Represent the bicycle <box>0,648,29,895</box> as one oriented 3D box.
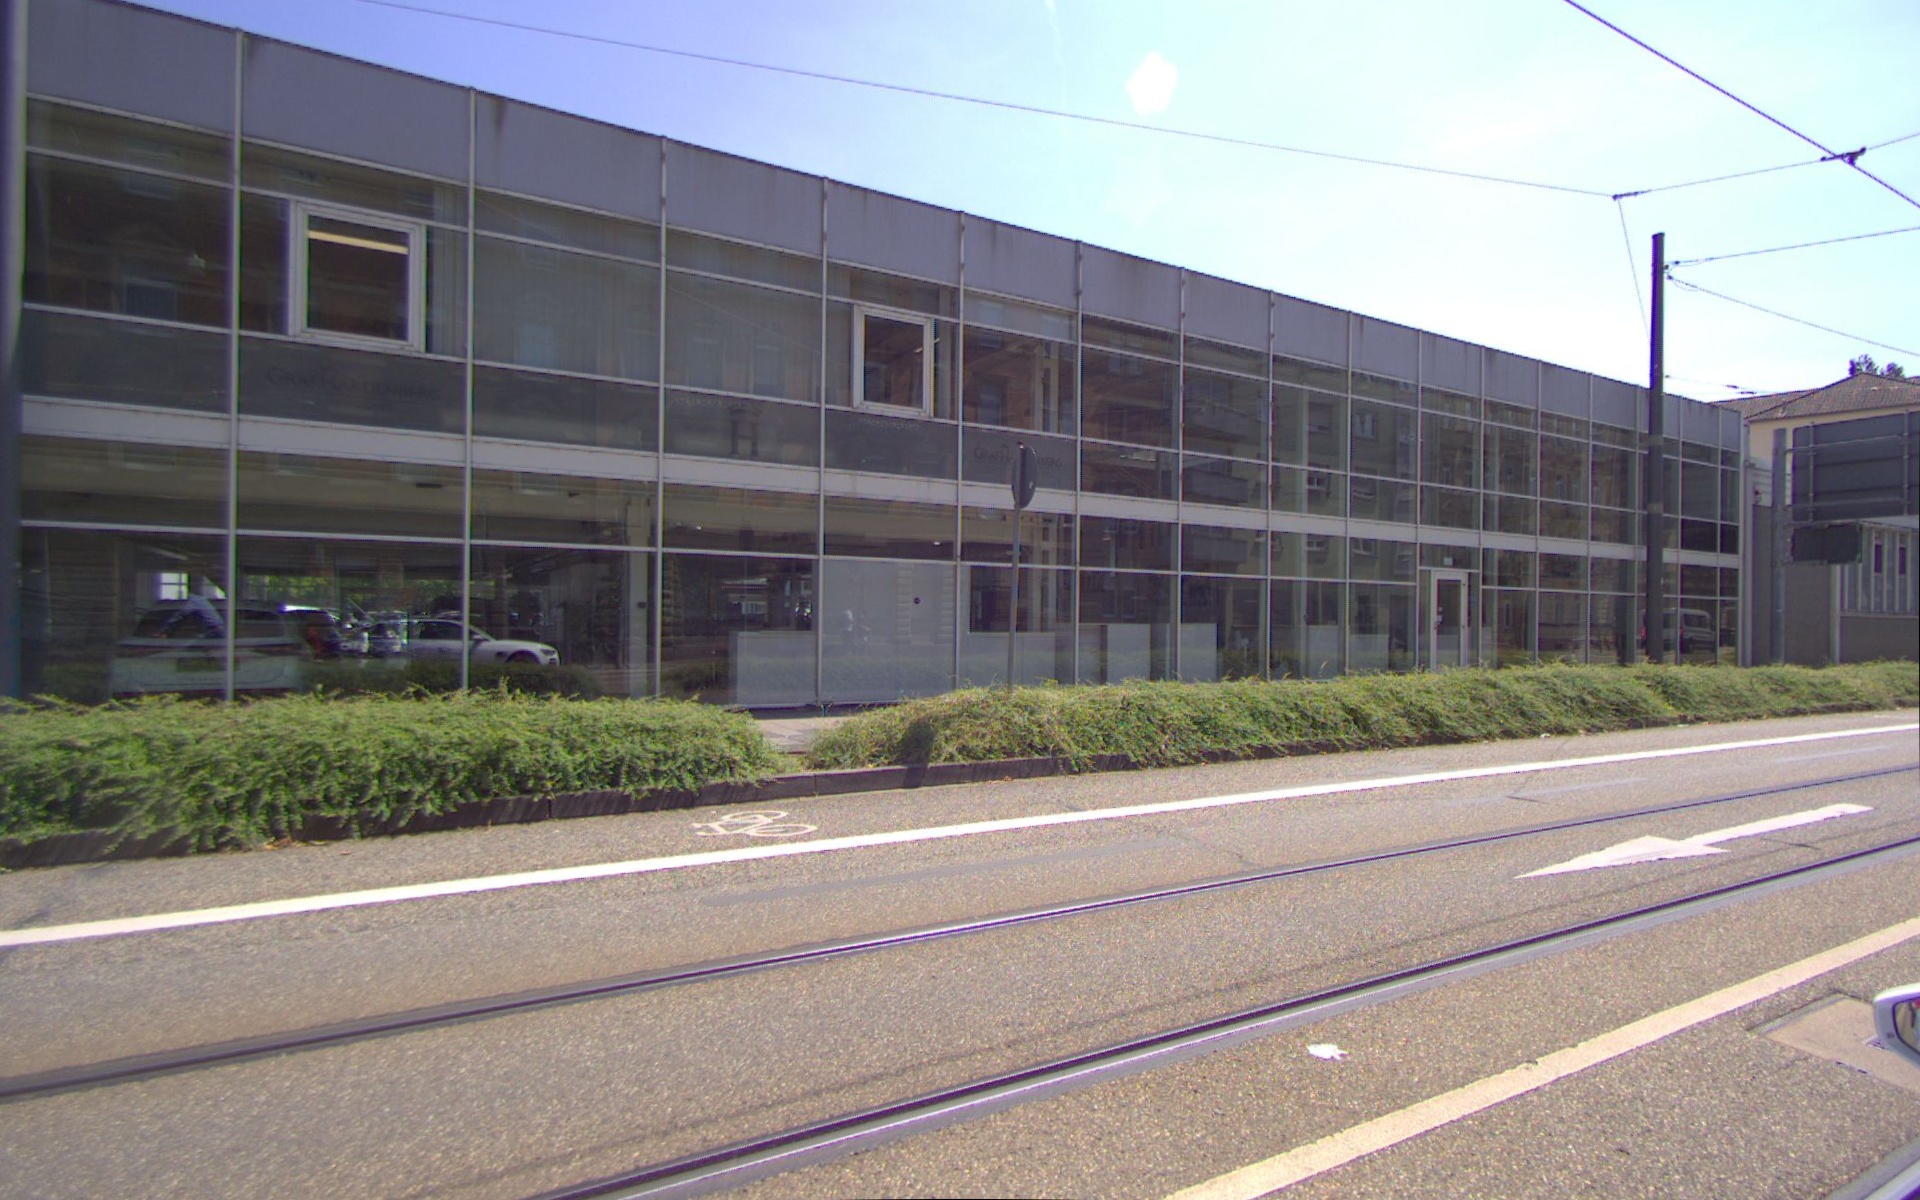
[{"bbox_3d":[-5.617,0.793,4.158,2.467,1.160,0.694,1,-1,-31],"label":"bicycle"}]
